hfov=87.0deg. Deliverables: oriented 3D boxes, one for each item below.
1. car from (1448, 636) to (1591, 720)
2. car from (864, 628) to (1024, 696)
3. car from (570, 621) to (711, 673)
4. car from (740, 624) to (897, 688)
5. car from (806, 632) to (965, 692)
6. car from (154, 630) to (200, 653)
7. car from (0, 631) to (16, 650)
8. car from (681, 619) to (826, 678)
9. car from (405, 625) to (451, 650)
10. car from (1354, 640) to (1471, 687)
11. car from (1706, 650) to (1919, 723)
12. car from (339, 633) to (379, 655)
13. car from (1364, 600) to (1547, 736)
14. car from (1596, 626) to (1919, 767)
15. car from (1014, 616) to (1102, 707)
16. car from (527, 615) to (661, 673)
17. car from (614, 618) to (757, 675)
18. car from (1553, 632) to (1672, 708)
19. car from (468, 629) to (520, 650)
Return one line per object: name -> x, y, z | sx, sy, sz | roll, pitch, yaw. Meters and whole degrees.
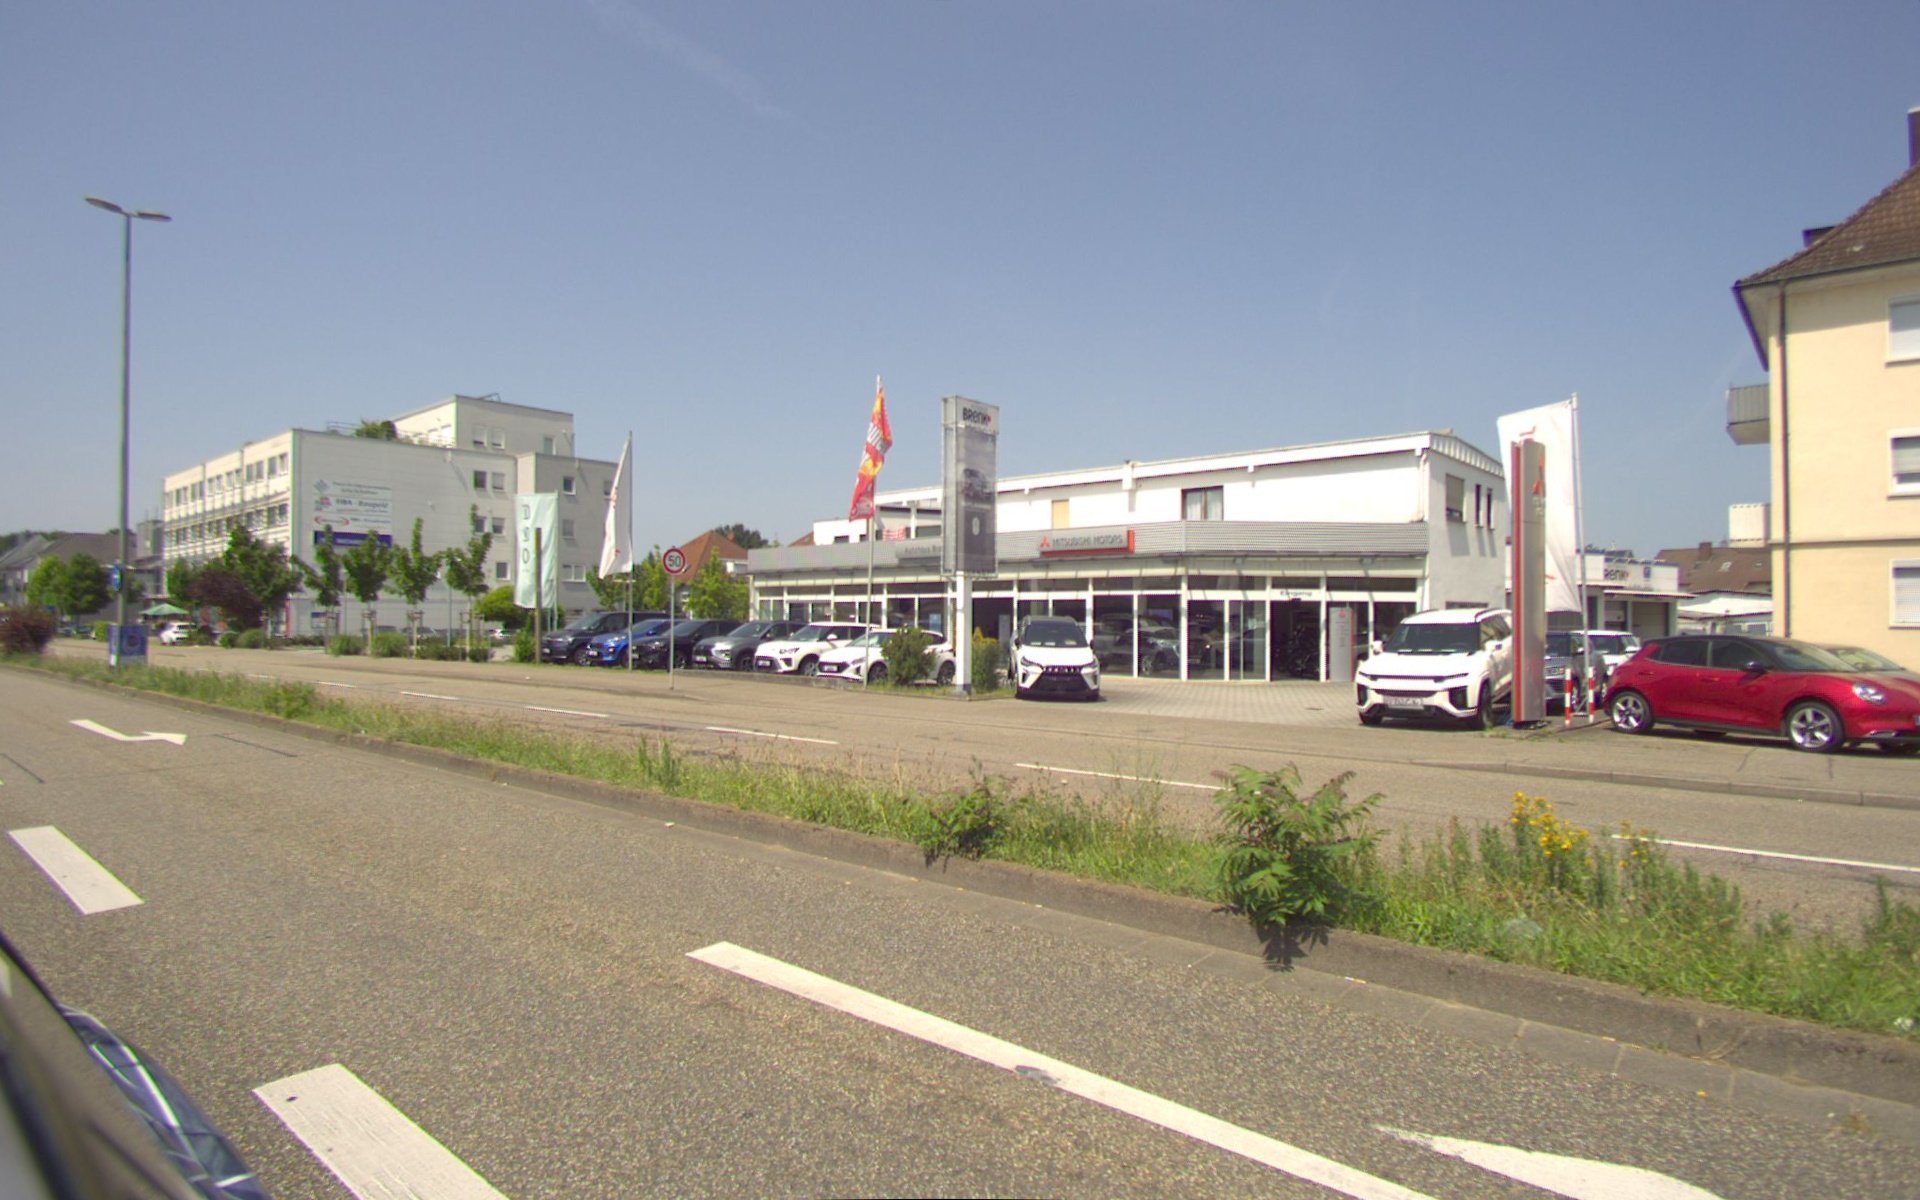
car -> 11.621, 1.524, 20.908 | 1.864, 1.542, 3.946 | -1, -2, 40
car -> -0.316, 1.430, 24.431 | 1.758, 1.478, 3.947 | -1, -2, 39
car -> -10.532, 1.558, 33.581 | 2.087, 1.621, 3.947 | -1, -3, 39
car -> -3.810, 1.474, 27.699 | 1.925, 1.621, 3.943 | -2, -2, 43
car -> -1.815, 1.510, 25.682 | 1.858, 1.405, 3.947 | -1, -2, 39
car -> -52.430, 2.735, 67.759 | 3.662, 1.460, 1.674 | -1, -1, 40
car -> -76.801, 3.186, 80.598 | 4.708, 1.472, 1.809 | -1, -3, 40
car -> -5.980, 1.388, 29.635 | 1.758, 1.580, 3.947 | -1, -2, 39
car -> -33.935, 2.382, 64.523 | 3.556, 1.530, 1.536 | -2, -2, 43
car -> 14.247, 1.975, 31.953 | 3.134, 1.373, 1.307 | -2, -3, 42
car -> 17.787, 1.690, 20.508 | 1.622, 1.261, 4.013 | 1, -2, -23
car -> -37.364, 2.700, 62.883 | 2.833, 1.350, 1.436 | -2, -2, 43
car -> 8.433, 1.006, 16.995 | 1.758, 1.722, 4.502 | -1, 2, 39
car -> 11.453, 1.203, 14.140 | 1.809, 1.655, 4.190 | 1, -2, -15
car -> 2.096, 1.280, 22.529 | 1.736, 1.636, 3.997 | 0, 2, 3
car -> -12.684, 1.489, 35.266 | 1.998, 1.896, 3.947 | -1, -2, 39
car -> -8.475, 1.482, 31.513 | 1.758, 1.621, 3.947 | -1, -5, 39
car -> 15.427, 1.567, 23.858 | 1.864, 1.627, 3.946 | -1, -2, 40
car -> -31.385, 2.625, 68.127 | 3.834, 1.394, 1.899 | -1, -3, 44
